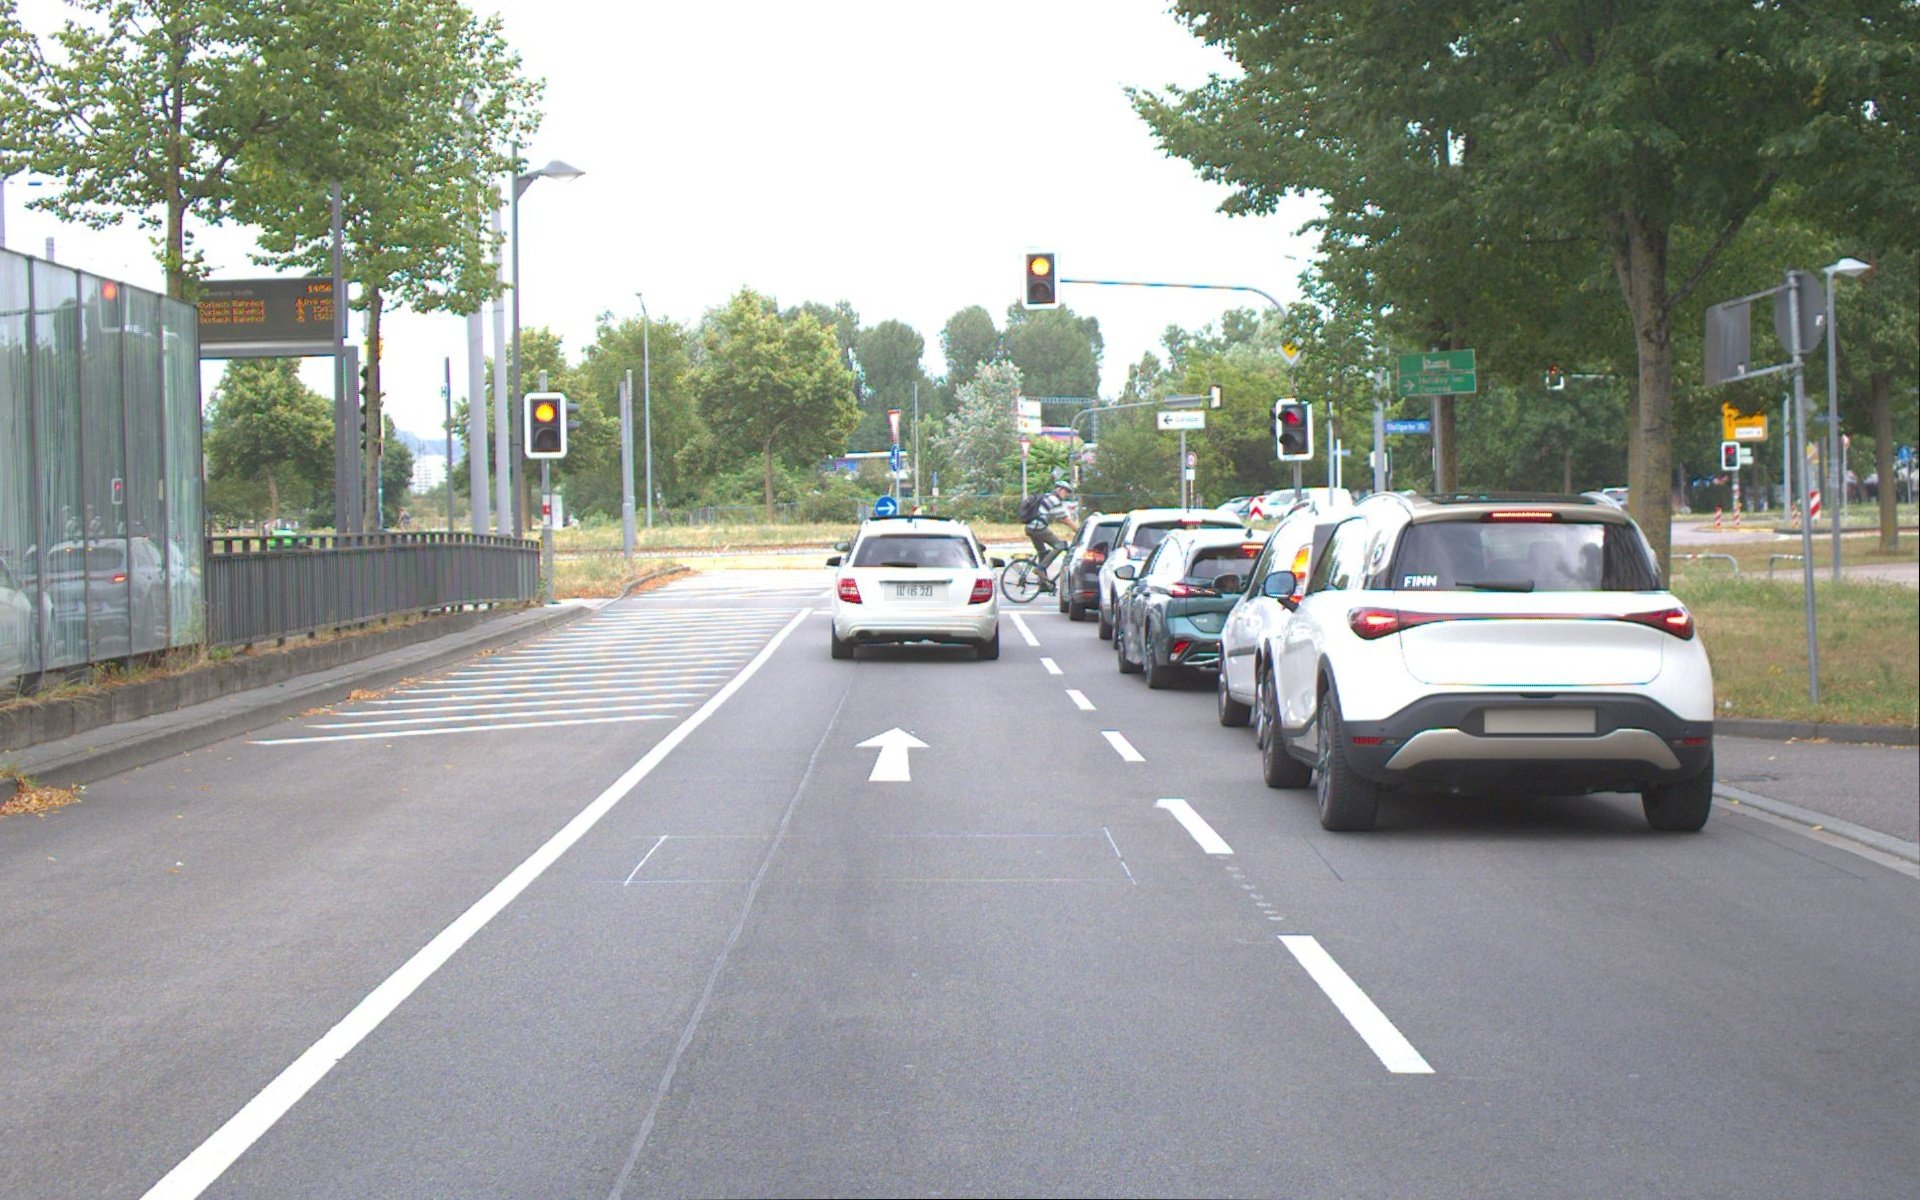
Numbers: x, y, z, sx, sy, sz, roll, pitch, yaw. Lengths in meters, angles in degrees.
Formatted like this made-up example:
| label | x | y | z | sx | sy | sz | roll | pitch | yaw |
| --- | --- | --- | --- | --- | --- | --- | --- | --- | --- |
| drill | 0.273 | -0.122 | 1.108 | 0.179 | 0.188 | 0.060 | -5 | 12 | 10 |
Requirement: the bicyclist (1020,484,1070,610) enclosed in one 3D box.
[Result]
| label | x | y | z | sx | sy | sz | roll | pitch | yaw |
| --- | --- | --- | --- | --- | --- | --- | --- | --- | --- |
| bicyclist | 1.312 | -0.824 | 53.125 | 0.728 | 1.879 | 0.734 | -1 | 5 | -1 |

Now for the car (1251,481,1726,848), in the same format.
| label | x | y | z | sx | sy | sz | roll | pitch | yaw |
| --- | --- | --- | --- | --- | --- | --- | --- | --- | --- |
| car | 2.579 | 0.239 | 17.694 | 1.779 | 1.651 | 4.024 | 1 | 2 | 0 |

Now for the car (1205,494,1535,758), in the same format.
| label | x | y | z | sx | sy | sz | roll | pitch | yaw |
| --- | --- | --- | --- | --- | --- | --- | --- | --- | --- |
| car | 2.759 | 0.114 | 23.931 | 1.779 | 1.651 | 4.024 | -1 | 1 | 0 |

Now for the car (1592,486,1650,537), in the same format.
| label | x | y | z | sx | sy | sz | roll | pitch | yaw |
| --- | --- | --- | --- | --- | --- | --- | --- | --- | --- |
| car | 22.230 | -2.983 | 115.743 | 1.784 | 1.630 | 4.400 | -1 | 1 | 9 |

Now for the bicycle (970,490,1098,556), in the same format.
| label | x | y | z | sx | sy | sz | roll | pitch | yaw |
| --- | --- | --- | --- | --- | --- | --- | --- | --- | --- |
| bicycle | 1.135 | -1.193 | 52.998 | 1.933 | 0.980 | 0.565 | -1 | 2 | -1 |

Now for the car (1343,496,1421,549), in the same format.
| label | x | y | z | sx | sy | sz | roll | pitch | yaw |
| --- | --- | --- | --- | --- | --- | --- | --- | --- | --- |
| car | 14.894 | -2.733 | 121.471 | 1.993 | 1.784 | 4.001 | 1 | 1 | -4 |

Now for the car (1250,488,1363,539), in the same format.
| label | x | y | z | sx | sy | sz | roll | pitch | yaw |
| --- | --- | --- | --- | --- | --- | --- | --- | --- | --- |
| car | 14.151 | -3.526 | 140.252 | 1.998 | 2.006 | 4.987 | 1 | 2 | 43 |

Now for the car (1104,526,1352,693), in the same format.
| label | x | y | z | sx | sy | sz | roll | pitch | yaw |
| --- | --- | --- | --- | --- | --- | --- | --- | --- | --- |
| car | 2.425 | 0.035 | 32.090 | 1.787 | 1.427 | 4.311 | -1 | 1 | -2 |

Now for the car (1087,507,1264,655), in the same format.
| label | x | y | z | sx | sy | sz | roll | pitch | yaw |
| --- | --- | --- | --- | --- | --- | --- | --- | --- | --- |
| car | 2.469 | -0.263 | 40.172 | 1.787 | 1.619 | 3.911 | -1 | 1 | 0 |

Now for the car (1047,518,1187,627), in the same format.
| label | x | y | z | sx | sy | sz | roll | pitch | yaw |
| --- | --- | --- | --- | --- | --- | --- | --- | --- | --- |
| car | 2.159 | -0.412 | 48.023 | 1.624 | 1.443 | 3.911 | 0 | 1 | -2 |

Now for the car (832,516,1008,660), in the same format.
| label | x | y | z | sx | sy | sz | roll | pitch | yaw |
| --- | --- | --- | --- | --- | --- | --- | --- | --- | --- |
| car | -0.480 | -0.169 | 36.993 | 1.773 | 1.443 | 3.911 | 0 | 1 | -2 |

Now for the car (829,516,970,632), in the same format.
| label | x | y | z | sx | sy | sz | roll | pitch | yaw |
| --- | --- | --- | --- | --- | --- | --- | --- | --- | --- |
| car | -0.837 | -0.375 | 45.232 | 1.773 | 1.443 | 3.911 | 0 | 1 | -2 |
